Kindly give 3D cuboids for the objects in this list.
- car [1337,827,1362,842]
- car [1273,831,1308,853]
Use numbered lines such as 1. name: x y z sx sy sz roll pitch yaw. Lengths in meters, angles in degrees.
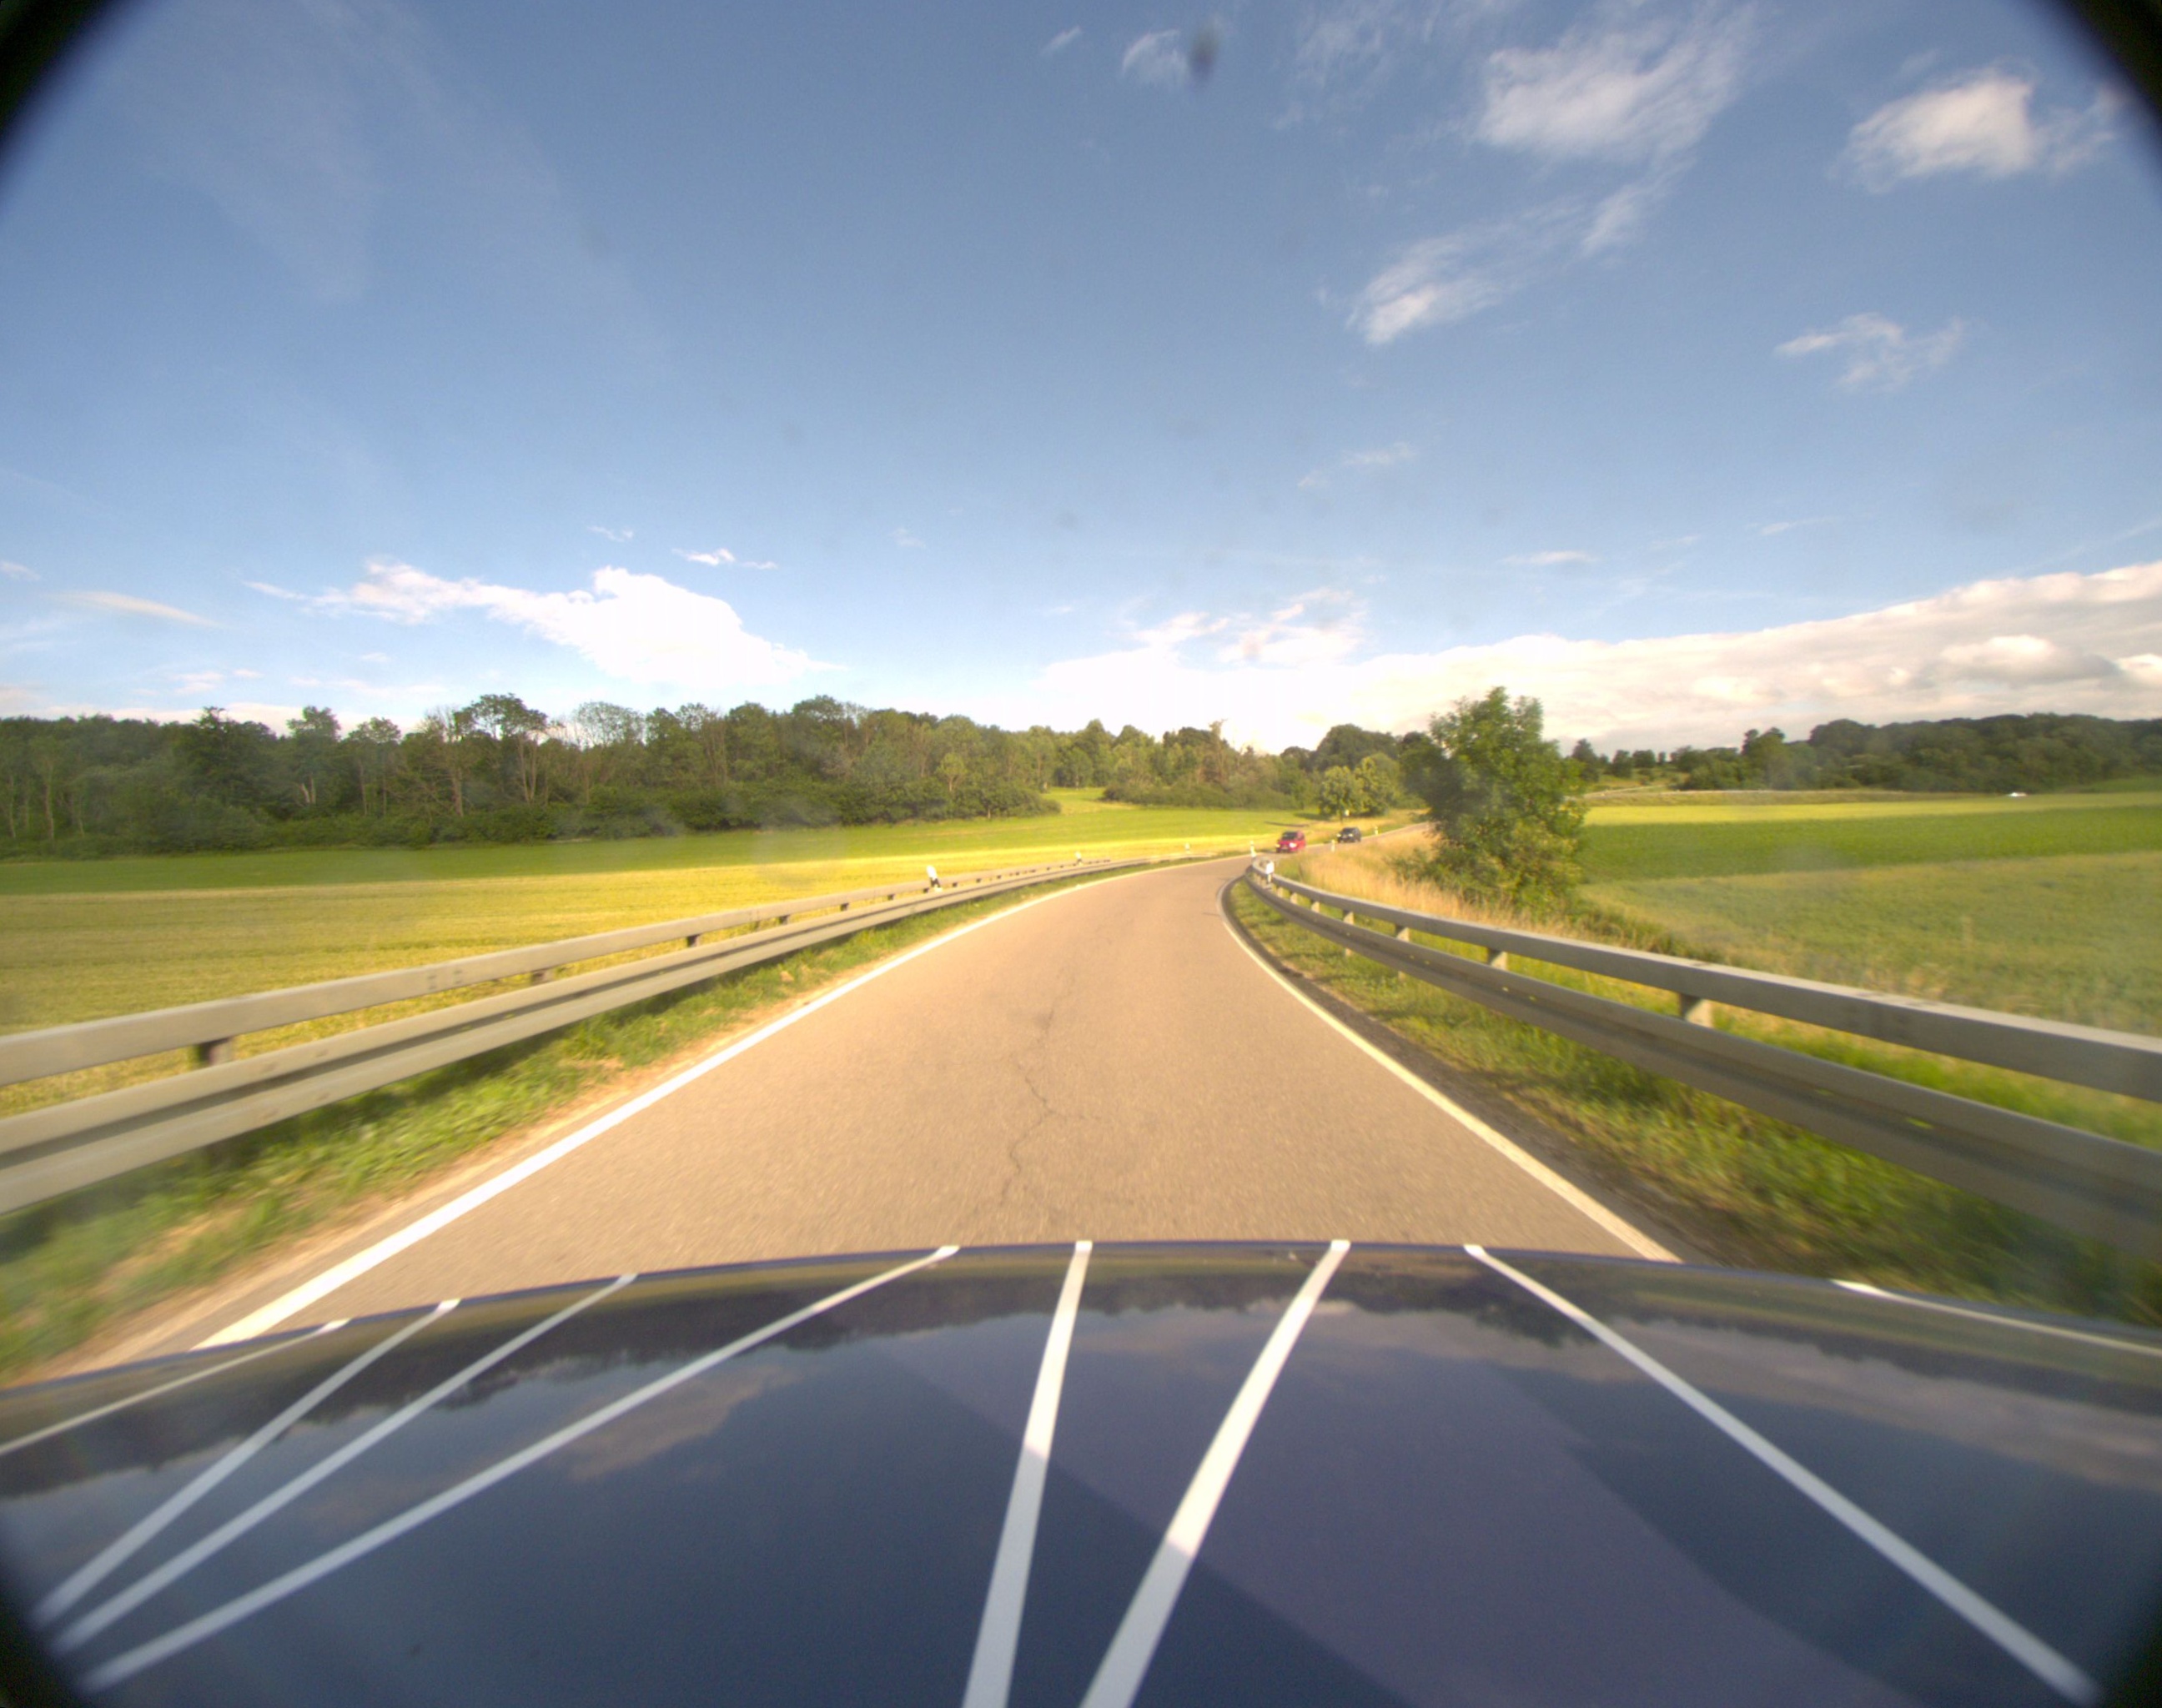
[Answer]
1. car: 29.818 -2.144 84.255 1.817 1.602 4.007 1 3 32
2. car: 17.714 -1.035 64.032 1.817 1.646 4.006 -1 2 31
